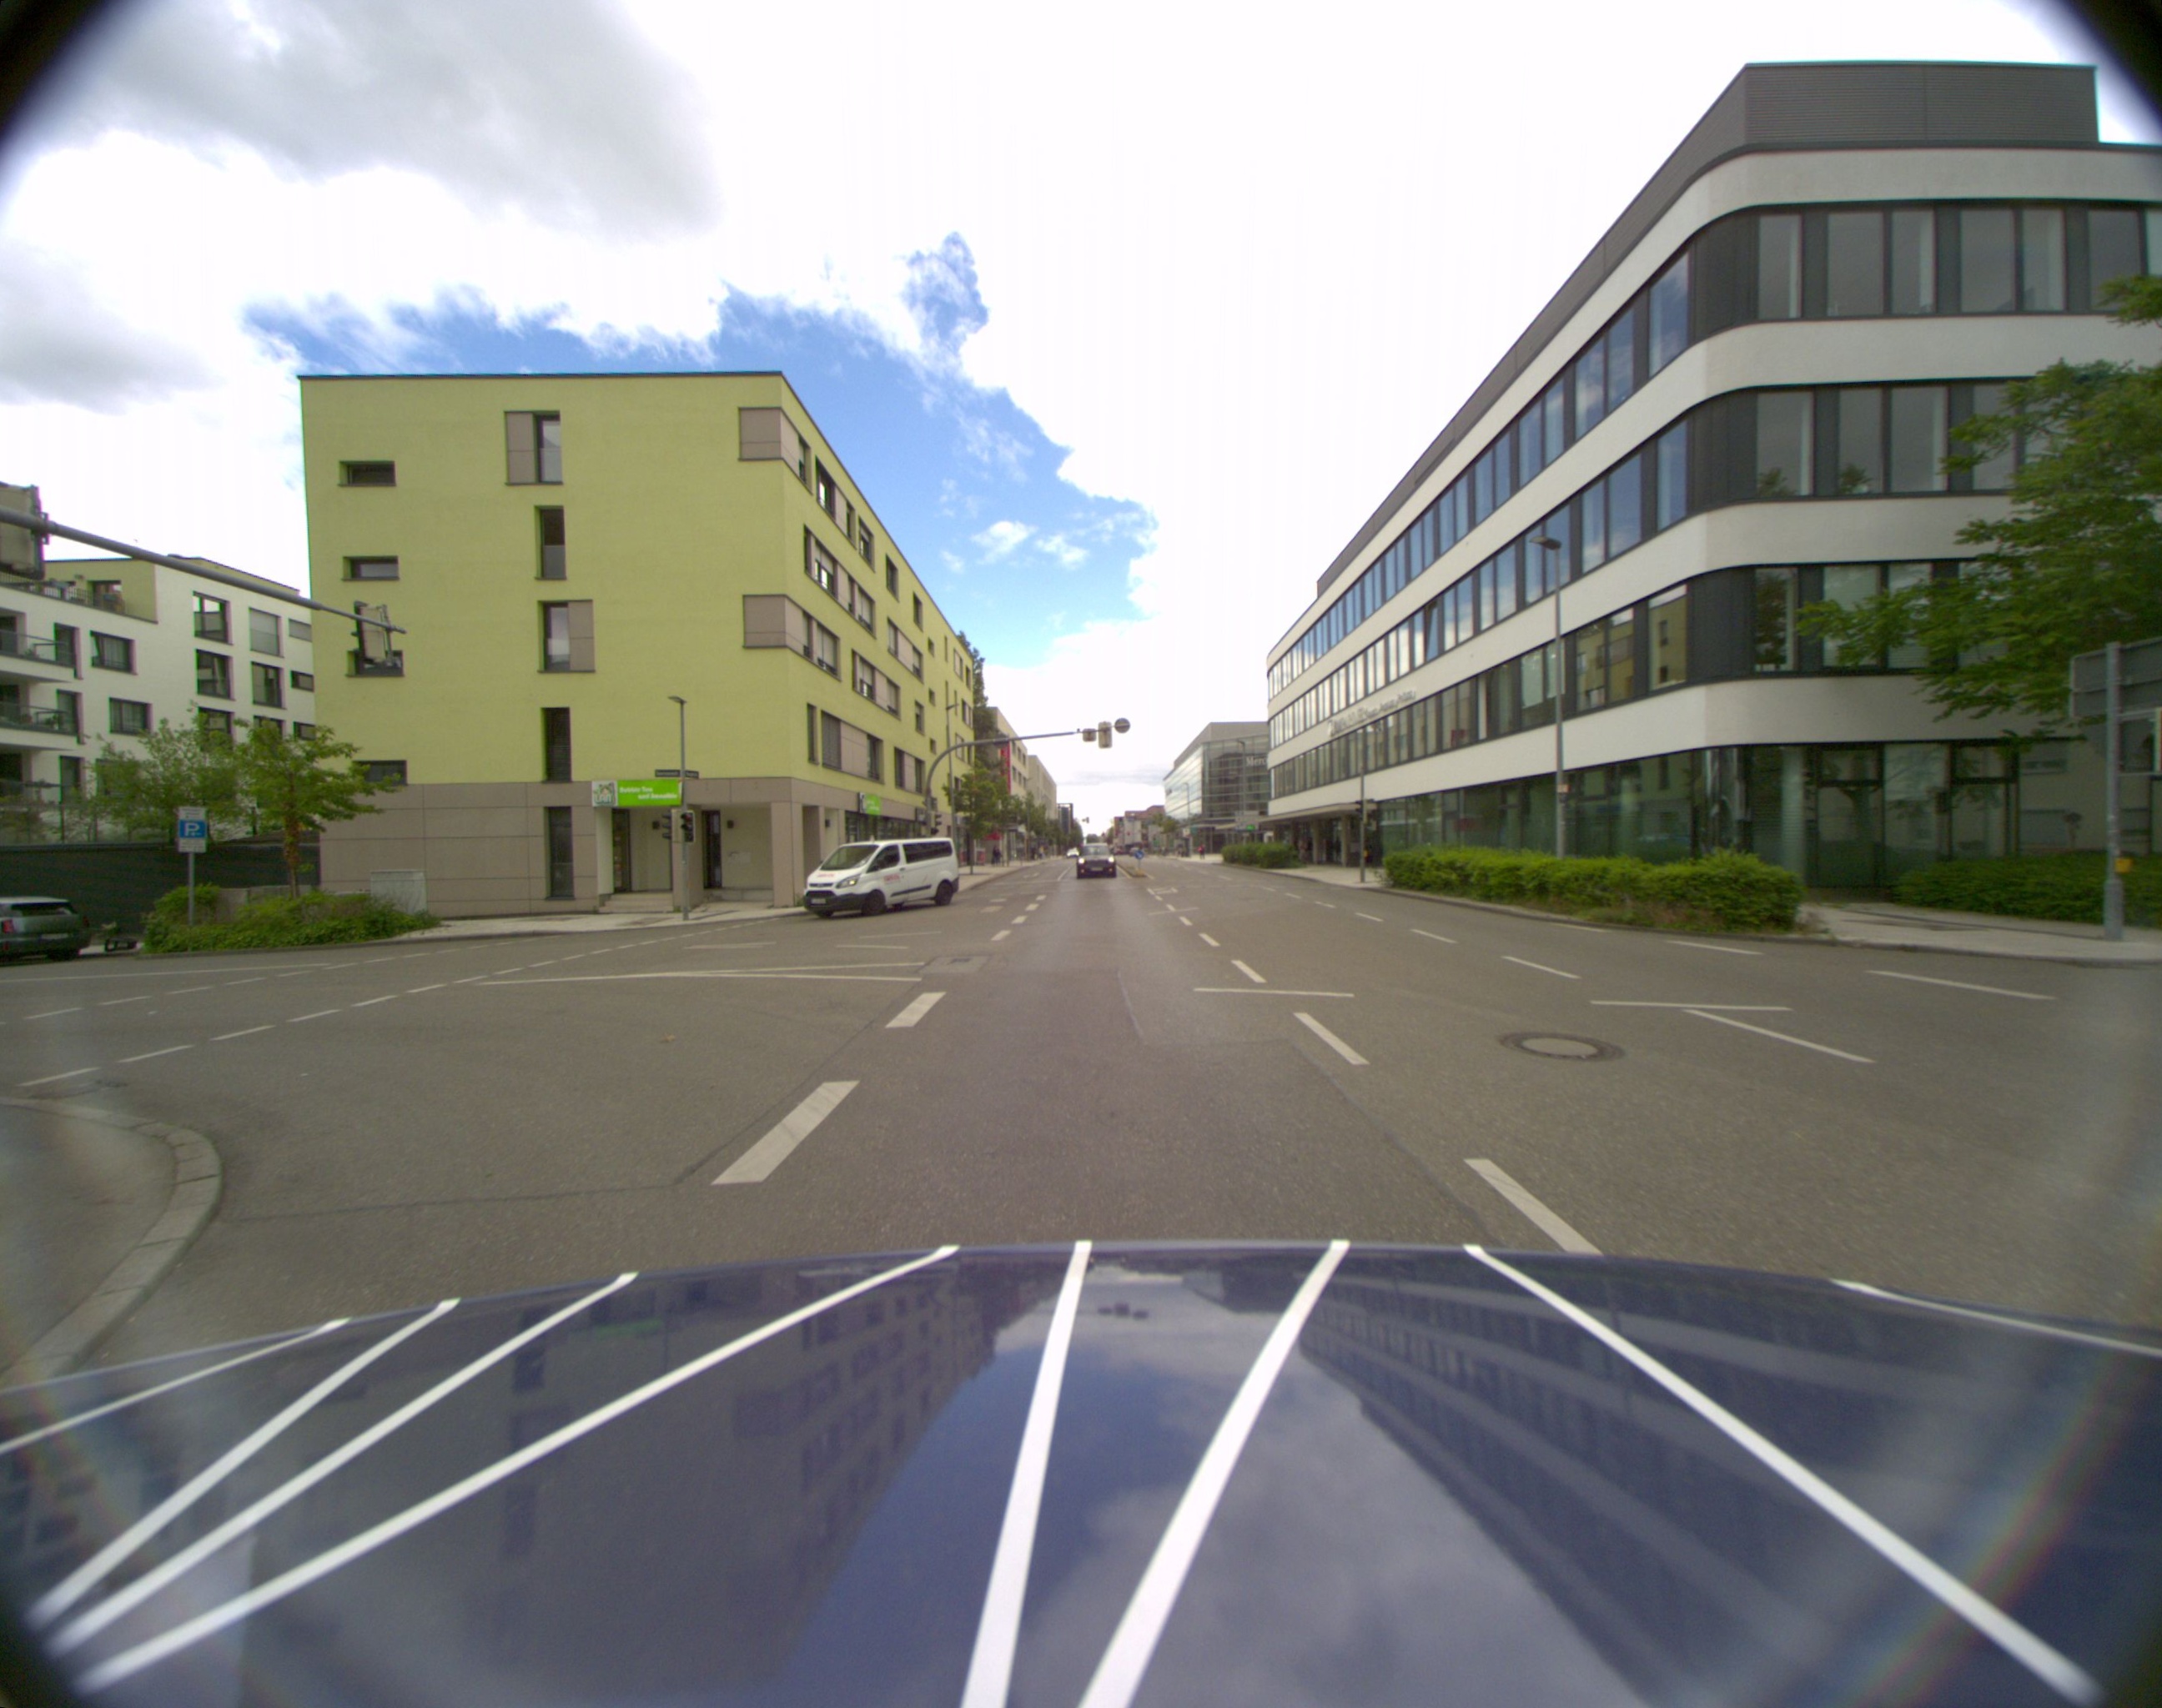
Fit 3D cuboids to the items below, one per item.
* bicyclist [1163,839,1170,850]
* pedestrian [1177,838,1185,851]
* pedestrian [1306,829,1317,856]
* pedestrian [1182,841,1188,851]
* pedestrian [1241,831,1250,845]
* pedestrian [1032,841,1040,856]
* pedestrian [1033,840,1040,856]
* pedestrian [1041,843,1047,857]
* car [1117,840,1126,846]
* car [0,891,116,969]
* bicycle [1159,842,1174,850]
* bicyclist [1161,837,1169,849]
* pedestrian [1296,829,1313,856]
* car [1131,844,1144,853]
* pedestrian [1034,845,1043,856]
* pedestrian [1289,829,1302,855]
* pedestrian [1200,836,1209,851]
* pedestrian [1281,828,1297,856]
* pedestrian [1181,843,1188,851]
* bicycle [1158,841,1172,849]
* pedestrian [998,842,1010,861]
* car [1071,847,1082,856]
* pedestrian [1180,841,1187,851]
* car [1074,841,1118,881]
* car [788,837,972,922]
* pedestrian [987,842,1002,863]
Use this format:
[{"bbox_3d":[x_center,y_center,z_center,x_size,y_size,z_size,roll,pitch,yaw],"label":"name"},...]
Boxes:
[{"bbox_3d":[12.778,-1.454,113.182,0.783,1.639,0.639,-3,1,17],"label":"bicyclist"},{"bbox_3d":[12.491,-1.169,94.848,0.688,1.622,0.574,-1,2,-39],"label":"pedestrian"},{"bbox_3d":[15.171,-0.758,49.986,0.505,1.720,0.616,0,2,33],"label":"pedestrian"},{"bbox_3d":[12.747,-0.991,92.942,0.686,1.312,0.576,0,1,0],"label":"pedestrian"},{"bbox_3d":[22.985,-2.262,106.195,0.904,1.934,0.748,-4,2,-37],"label":"pedestrian"},{"bbox_3d":[-4.844,-0.594,81.442,0.722,1.674,0.733,0,2,6],"label":"pedestrian"},{"bbox_3d":[-4.856,-0.642,82.876,0.580,1.759,0.856,0,2,7],"label":"pedestrian"},{"bbox_3d":[-4.154,-0.473,85.474,0.580,1.582,0.733,0,2,7],"label":"pedestrian"},{"bbox_3d":[9.901,-2.733,187.181,1.803,1.458,3.998,-1,1,-4],"label":"car"},{"bbox_3d":[-26.149,1.860,17.781,4.421,1.606,1.969,-3,1,-1],"label":"car"},{"bbox_3d":[12.760,-1.194,113.192,2.002,1.124,0.639,-3,1,16],"label":"bicycle"},{"bbox_3d":[12.793,-1.658,115.999,0.749,1.790,0.772,-5,2,-45],"label":"bicyclist"},{"bbox_3d":[13.775,-0.715,46.847,0.732,1.604,0.931,-3,1,3],"label":"pedestrian"},{"bbox_3d":[9.530,-0.958,129.107,1.901,1.407,4.470,-3,1,2],"label":"car"},{"bbox_3d":[-4.715,-0.380,83.991,0.945,1.252,0.732,0,2,-1],"label":"pedestrian"},{"bbox_3d":[14.300,-0.796,50.702,0.616,1.700,0.505,-2,2,-29],"label":"pedestrian"},{"bbox_3d":[12.626,-1.080,77.669,0.832,1.558,0.813,-3,1,7],"label":"pedestrian"},{"bbox_3d":[12.960,-0.736,47.327,0.732,1.664,0.931,-3,1,3],"label":"pedestrian"},{"bbox_3d":[12.763,-0.857,93.616,0.686,1.069,0.576,1,1,0],"label":"pedestrian"},{"bbox_3d":[12.822,-1.351,116.015,0.749,1.199,2.025,-5,1,-45],"label":"bicycle"},{"bbox_3d":[-6.462,-0.209,63.559,0.871,1.574,0.804,-1,2,0],"label":"pedestrian"},{"bbox_3d":[-0.738,-0.436,124.033,1.787,1.417,4.514,-2,1,0],"label":"car"},{"bbox_3d":[12.714,-0.963,94.213,0.686,1.246,0.576,-1,1,0],"label":"pedestrian"},{"bbox_3d":[0.733,0.245,33.159,1.691,1.551,4.744,-3,1,3],"label":"car"},{"bbox_3d":[-5.402,0.624,21.199,1.996,1.976,5.008,-3,1,27],"label":"car"},{"bbox_3d":[-6.536,-0.114,57.398,0.949,1.574,1.015,-1,1,1],"label":"pedestrian"}]
